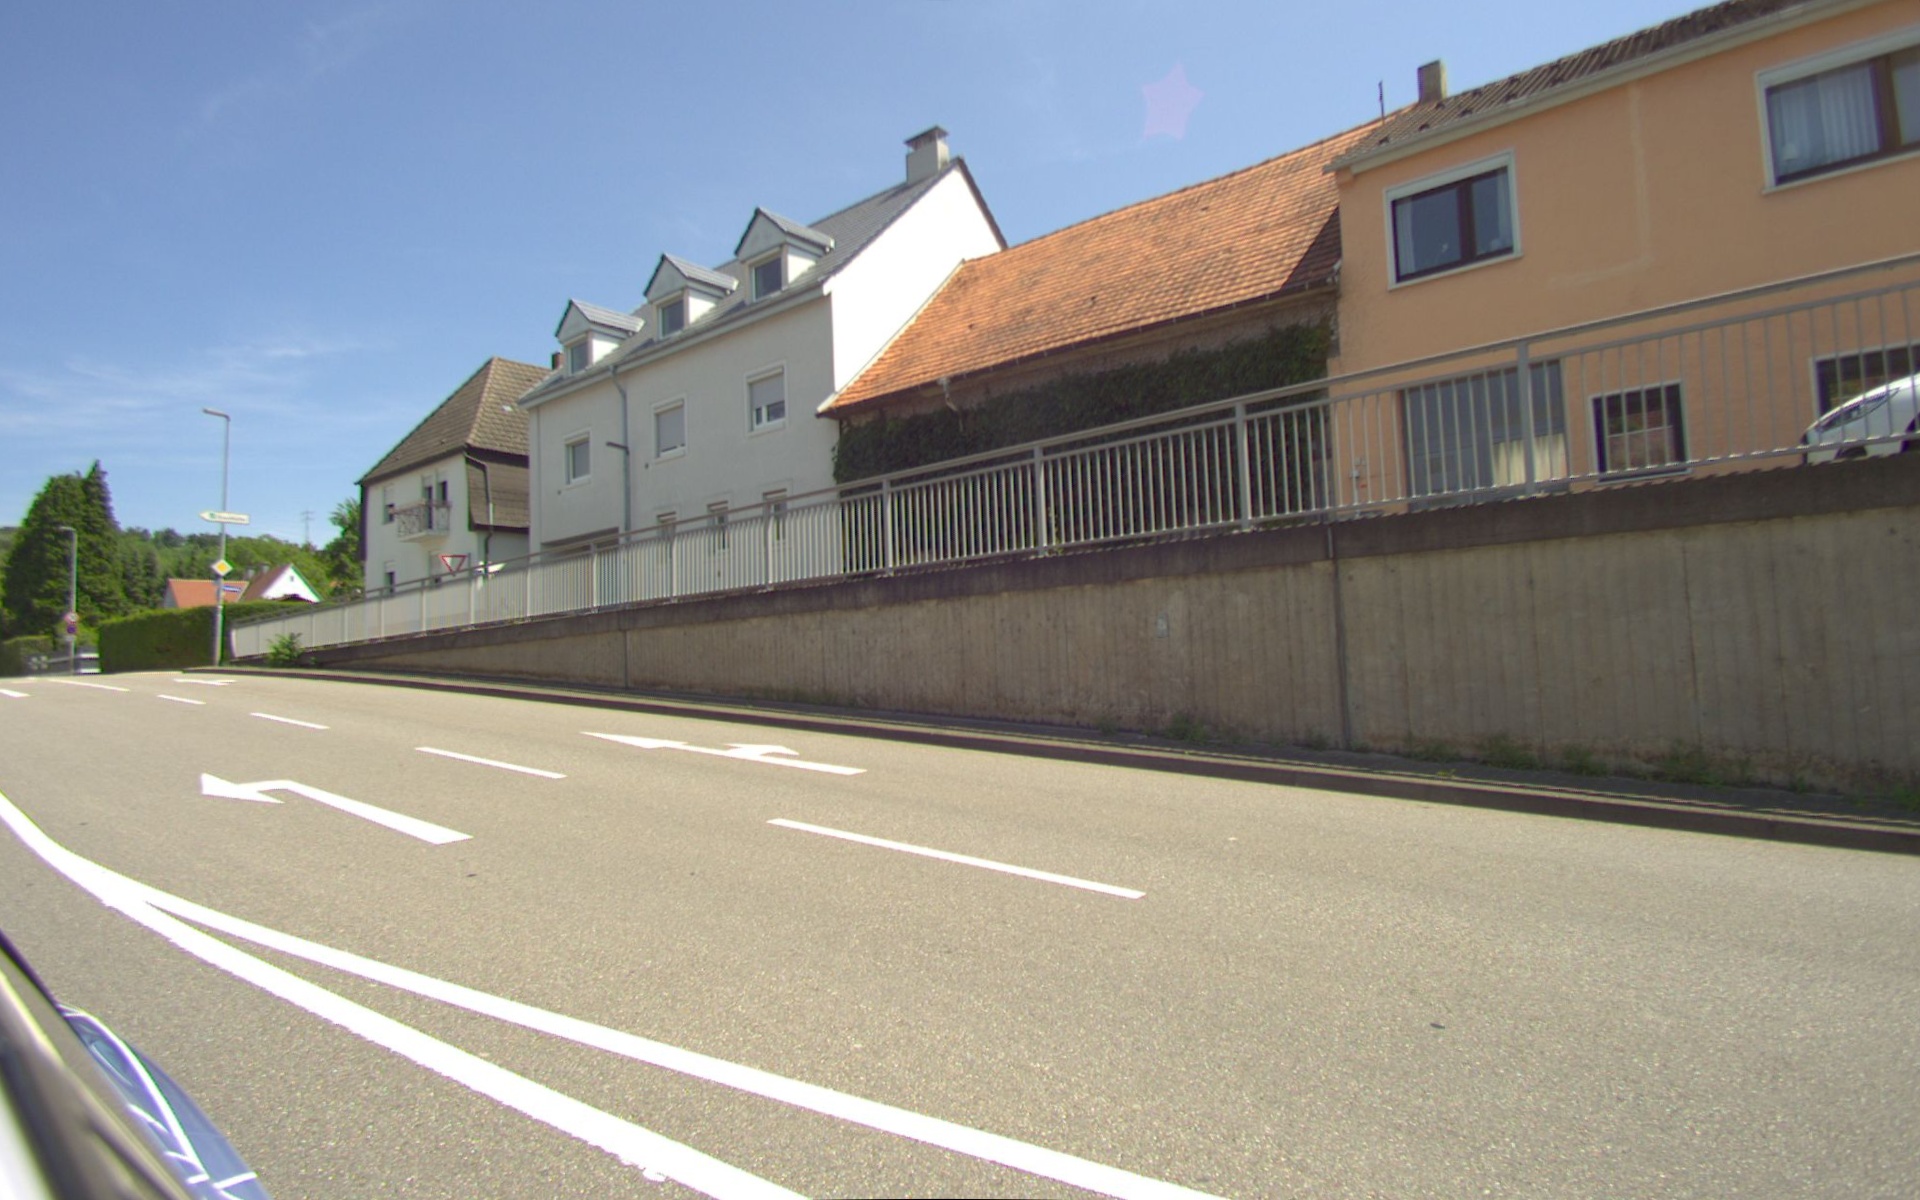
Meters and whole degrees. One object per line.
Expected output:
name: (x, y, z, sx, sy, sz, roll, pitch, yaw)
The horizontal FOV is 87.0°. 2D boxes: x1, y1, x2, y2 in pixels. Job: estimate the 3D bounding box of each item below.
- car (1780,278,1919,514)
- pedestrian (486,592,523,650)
car: (8.503, -1.657, 6.949, 4.303, 1.473, 1.796, -6, -3, 38)
pedestrian: (-13.931, 0.658, 30.950, 0.855, 1.742, 0.720, -2, -2, 37)
